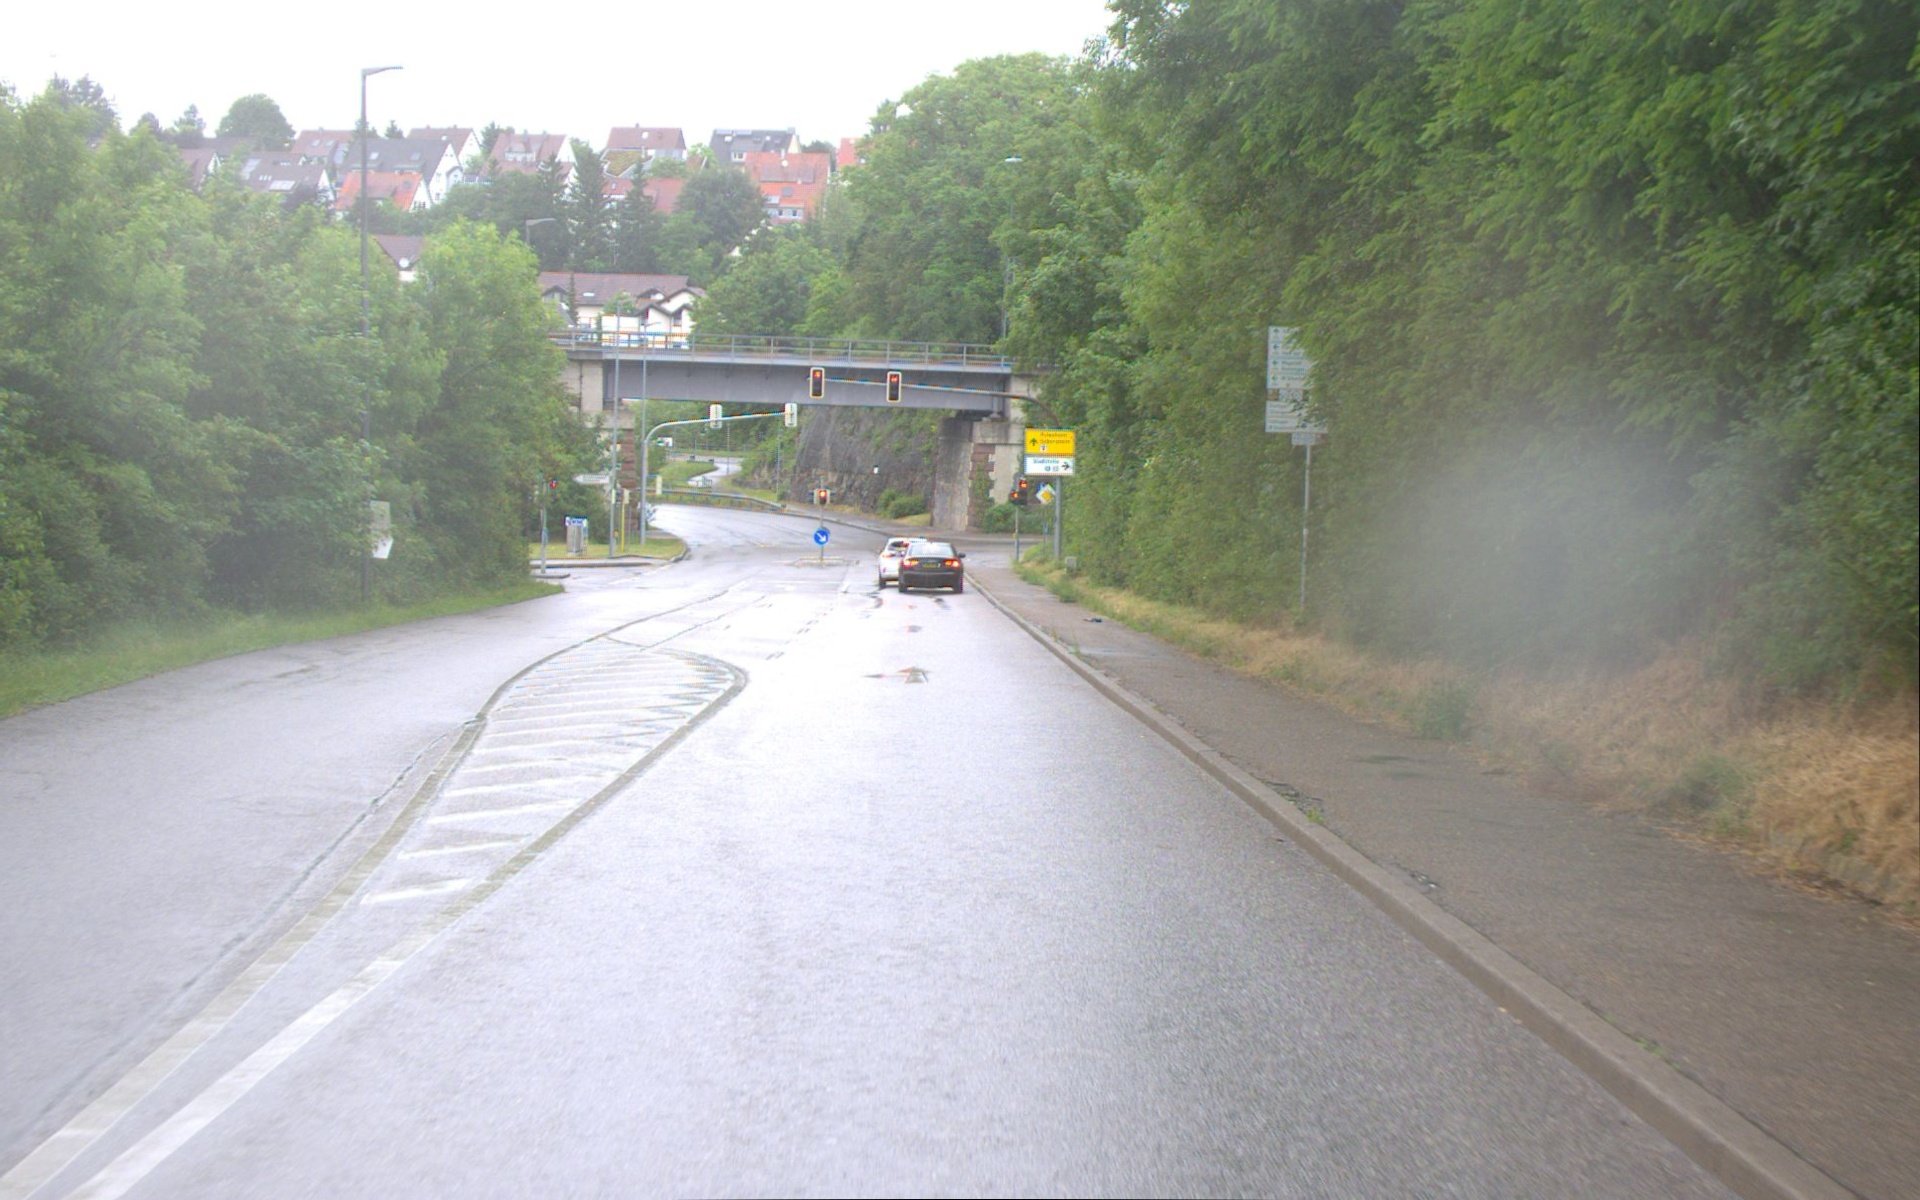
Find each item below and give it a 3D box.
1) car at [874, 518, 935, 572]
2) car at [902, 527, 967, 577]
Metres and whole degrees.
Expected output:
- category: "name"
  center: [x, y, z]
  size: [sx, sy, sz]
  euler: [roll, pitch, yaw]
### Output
- category: "car"
  center: [-1.640, -1.643, 102.477]
  size: [1.768, 1.557, 4.000]
  euler: [0, 1, 0]
- category: "car"
  center: [-0.698, -1.344, 95.831]
  size: [1.768, 1.375, 4.000]
  euler: [0, 1, 0]
